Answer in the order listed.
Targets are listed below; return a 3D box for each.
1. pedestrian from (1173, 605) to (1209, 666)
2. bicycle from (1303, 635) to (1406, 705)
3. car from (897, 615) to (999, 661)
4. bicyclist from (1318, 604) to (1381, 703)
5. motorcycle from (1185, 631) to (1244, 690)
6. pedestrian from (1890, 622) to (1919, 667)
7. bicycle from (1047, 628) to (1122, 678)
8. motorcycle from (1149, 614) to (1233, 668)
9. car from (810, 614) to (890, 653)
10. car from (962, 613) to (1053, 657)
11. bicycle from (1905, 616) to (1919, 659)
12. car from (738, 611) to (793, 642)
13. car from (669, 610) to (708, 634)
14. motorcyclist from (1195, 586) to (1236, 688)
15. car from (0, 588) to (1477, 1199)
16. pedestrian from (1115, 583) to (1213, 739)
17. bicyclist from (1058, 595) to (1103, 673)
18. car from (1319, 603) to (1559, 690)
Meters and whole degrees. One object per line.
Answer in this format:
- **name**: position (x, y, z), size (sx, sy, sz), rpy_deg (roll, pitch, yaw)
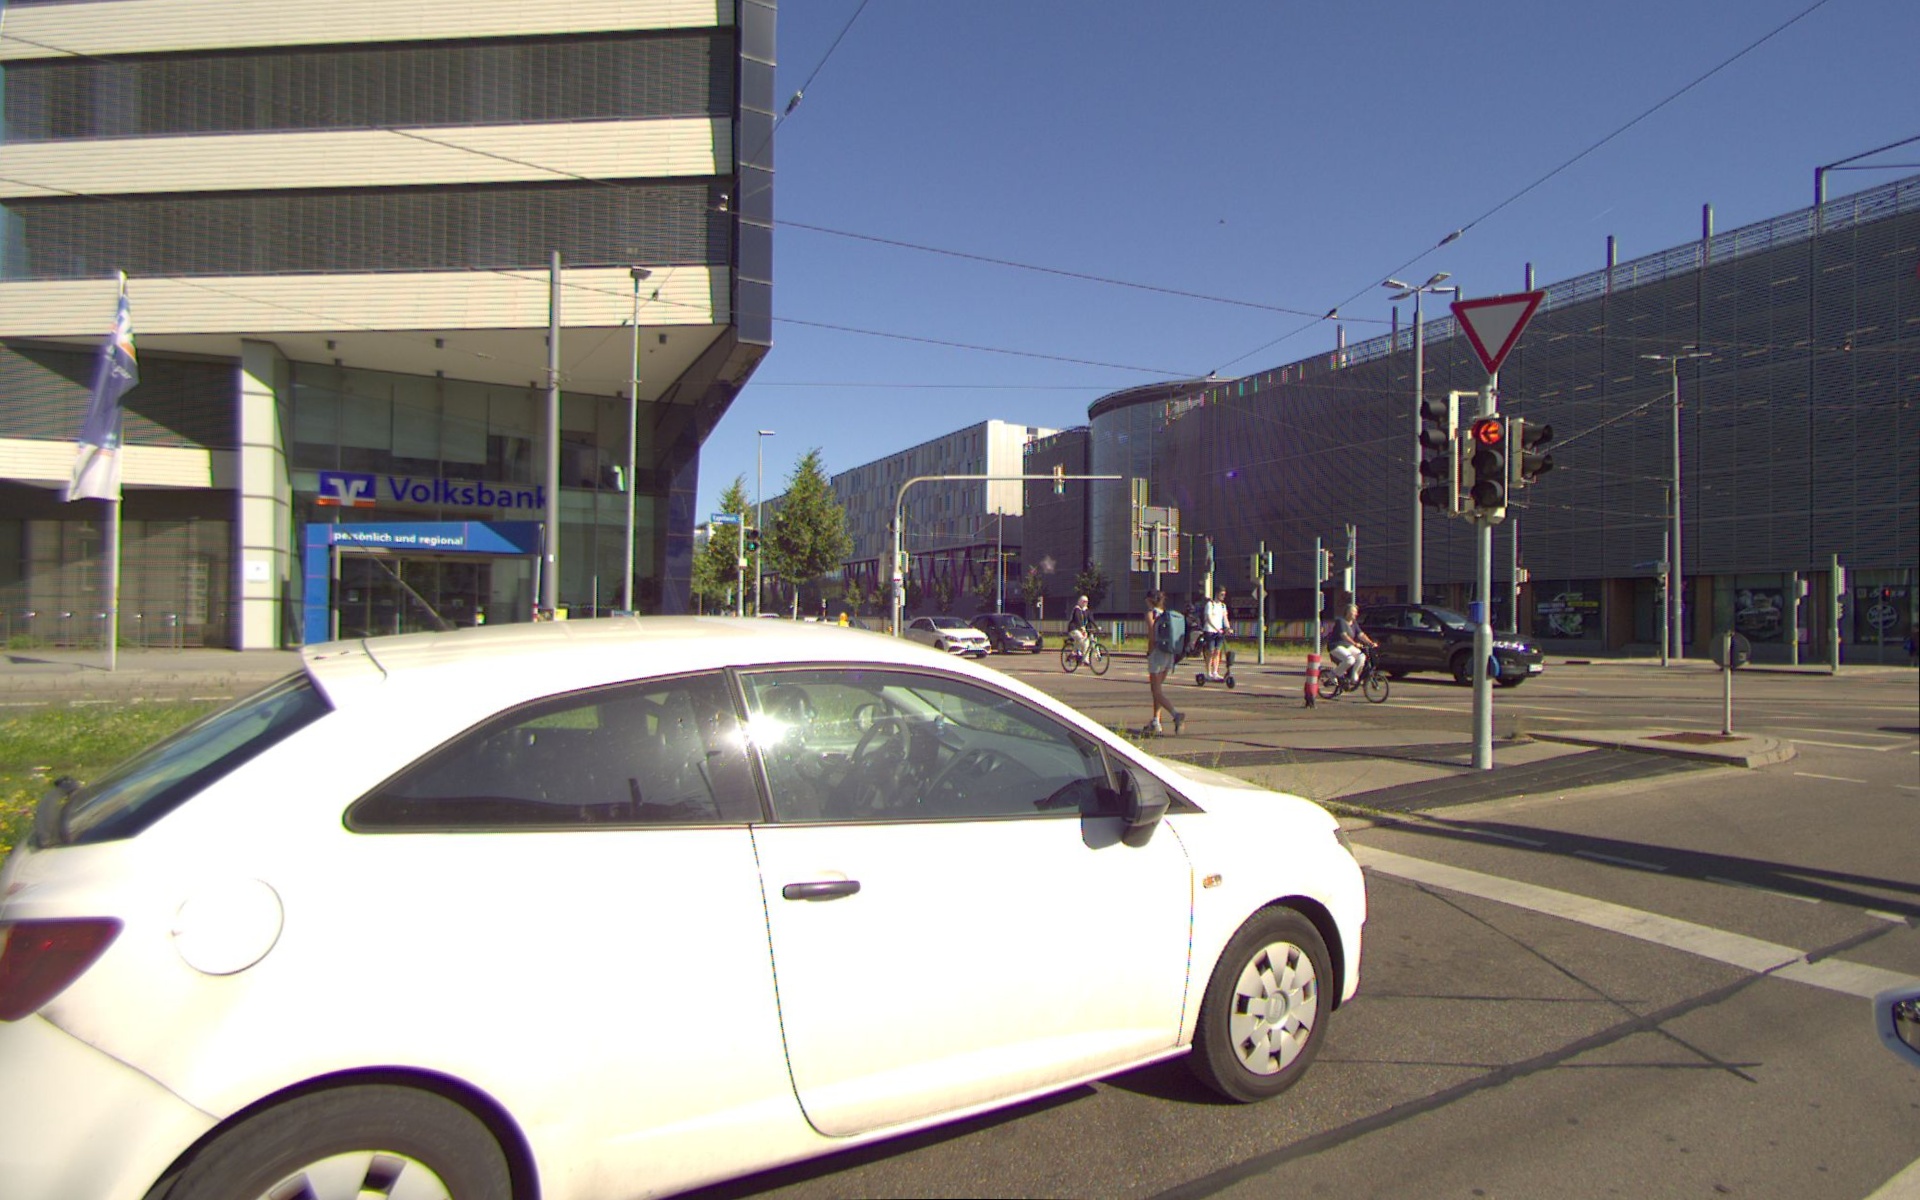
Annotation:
- **pedestrian**: position (6.626, 1.012, 28.837), size (0.657, 1.699, 0.740), rpy_deg (1, 0, -30)
- **bicycle**: position (6.860, 1.189, 17.524), size (0.726, 1.121, 1.568), rpy_deg (1, -1, -31)
- **car**: position (-0.479, 1.295, 34.923), size (1.889, 1.483, 4.060), rpy_deg (1, -1, -29)
- **bicyclist**: position (6.785, 0.915, 17.504), size (0.682, 1.670, 0.778), rpy_deg (1, -1, -32)
- **motorcycle**: position (5.162, 1.213, 20.409), size (0.477, 1.136, 1.181), rpy_deg (1, -1, -30)
- **pedestrian**: position (40.594, 1.915, 43.009), size (0.804, 1.893, 0.906), rpy_deg (0, -1, 13)
- **bicycle**: position (2.938, 1.229, 23.841), size (0.687, 1.050, 1.915), rpy_deg (1, 1, -32)
- **motorcycle**: position (6.599, 1.146, 28.869), size (0.904, 1.438, 2.430), rpy_deg (1, 0, -31)
- **car**: position (-4.878, 1.435, 43.951), size (1.976, 1.637, 4.256), rpy_deg (1, -1, -30)
- **car**: position (1.735, 1.300, 38.213), size (1.800, 1.545, 3.737), rpy_deg (1, -1, -28)
- **bicycle**: position (46.237, 1.768, 46.103), size (1.314, 2.040, 3.969), rpy_deg (1, 0, -29)
- **car**: position (-10.897, 1.476, 56.045), size (1.824, 1.673, 4.221), rpy_deg (1, -1, -28)
- **car**: position (-19.285, 1.536, 71.257), size (1.824, 1.673, 4.221), rpy_deg (1, -1, -28)
- **motorcyclist**: position (5.180, 0.748, 20.390), size (0.491, 2.040, 0.625), rpy_deg (1, -1, -30)
- **car**: position (-0.344, 0.760, 3.055), size (3.738, 1.442, 1.624), rpy_deg (1, 2, -30)
- **pedestrian**: position (2.358, 0.686, 11.673), size (0.704, 1.730, 0.881), rpy_deg (1, -1, -30)
- **bicyclist**: position (2.877, 0.807, 23.969), size (0.755, 1.812, 0.758), rpy_deg (1, -1, -33)
- **car**: position (10.562, 0.950, 22.501), size (1.819, 1.741, 4.608), rpy_deg (0, 0, -33)
